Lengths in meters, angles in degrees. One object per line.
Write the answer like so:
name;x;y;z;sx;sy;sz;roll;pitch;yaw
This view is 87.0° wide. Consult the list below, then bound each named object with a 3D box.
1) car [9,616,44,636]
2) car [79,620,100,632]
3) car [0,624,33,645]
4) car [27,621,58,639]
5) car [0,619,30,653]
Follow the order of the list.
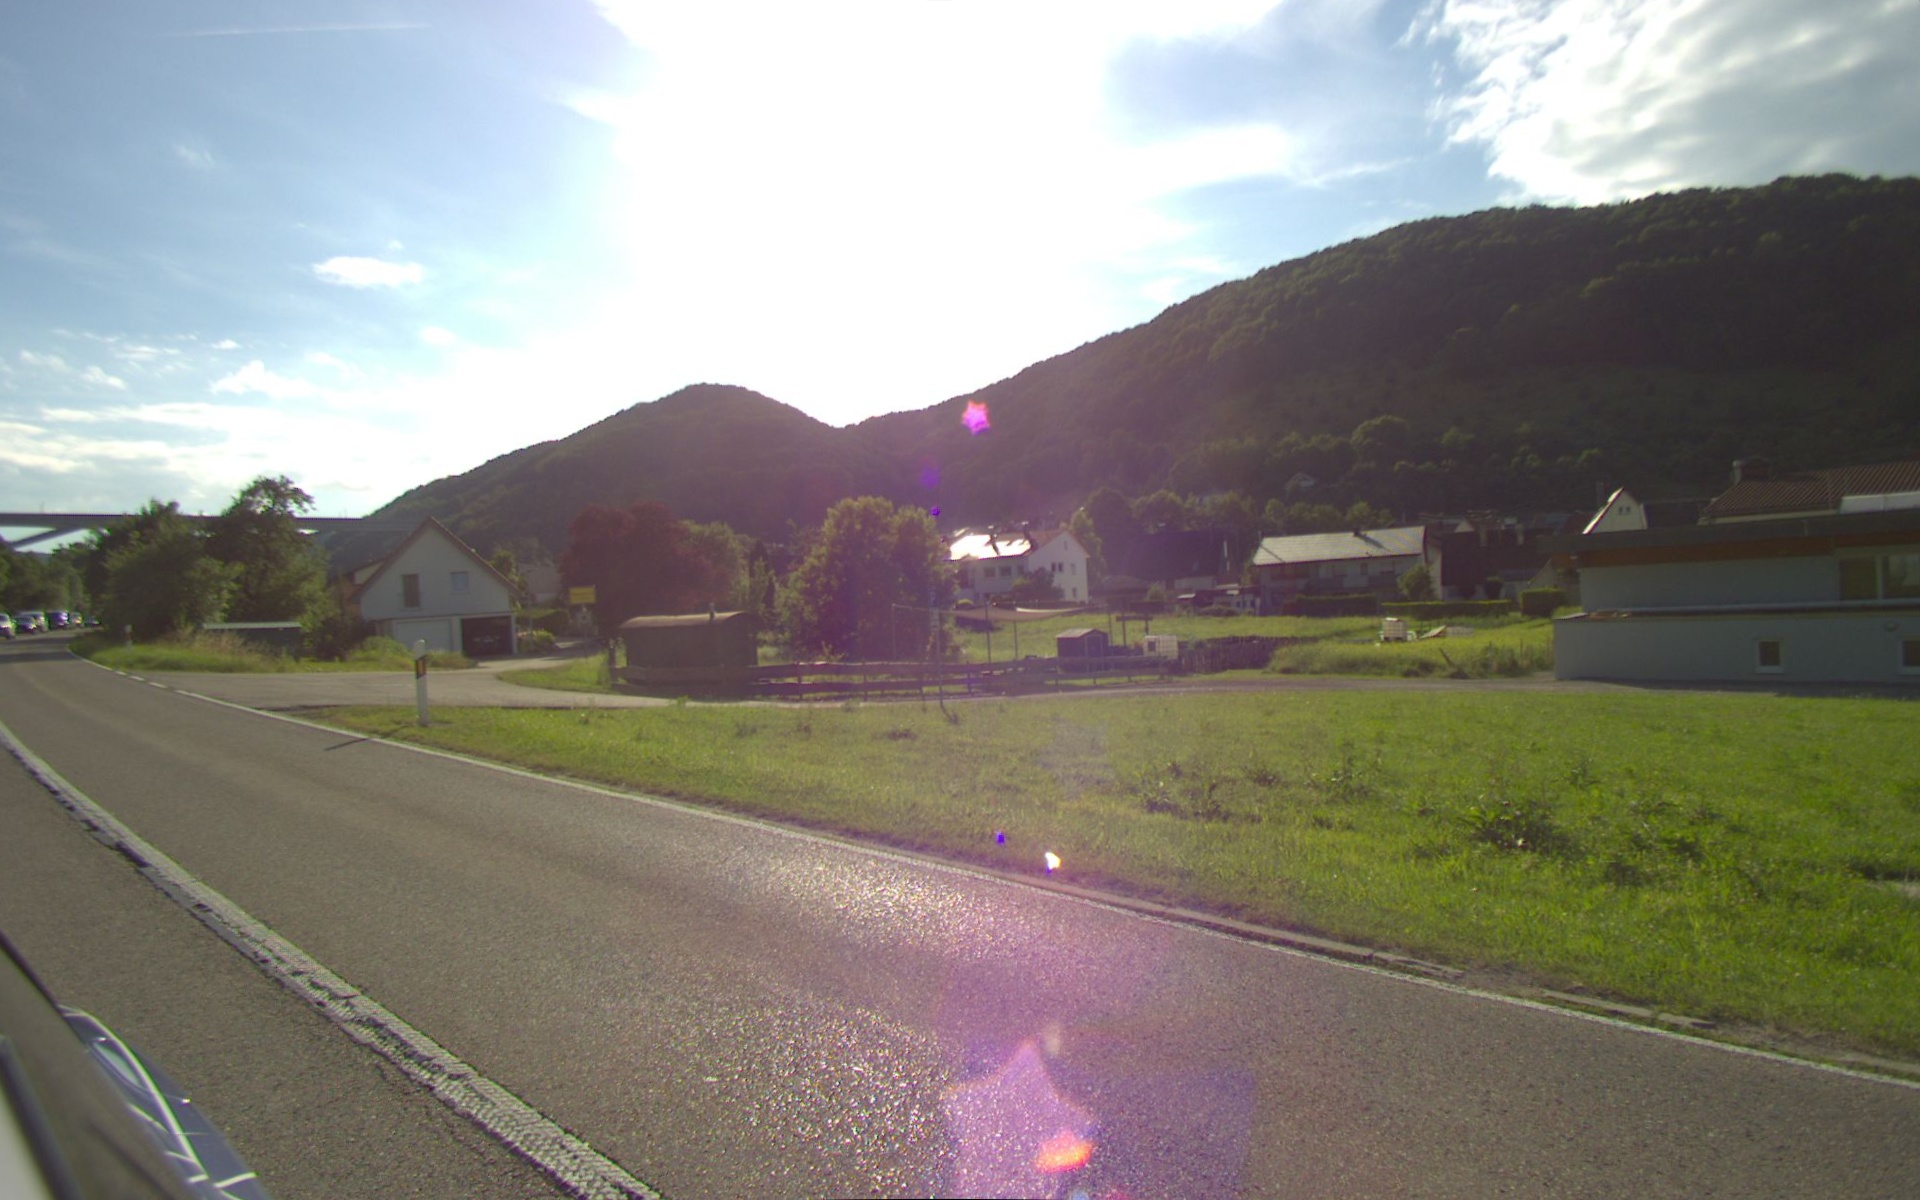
car;-77.867;2.176;84.447;1.791;1.630;4.008;1;-1;-38
car;-112.466;3.338;130.801;1.813;1.564;4.186;1;-1;-37
car;-72.004;2.617;77.031;1.814;1.564;4.185;1;-1;-39
car;-86.953;2.801;95.933;1.790;1.630;4.008;1;-1;-38
car;-59.870;2.229;63.607;1.886;2.029;4.007;1;-1;-40
